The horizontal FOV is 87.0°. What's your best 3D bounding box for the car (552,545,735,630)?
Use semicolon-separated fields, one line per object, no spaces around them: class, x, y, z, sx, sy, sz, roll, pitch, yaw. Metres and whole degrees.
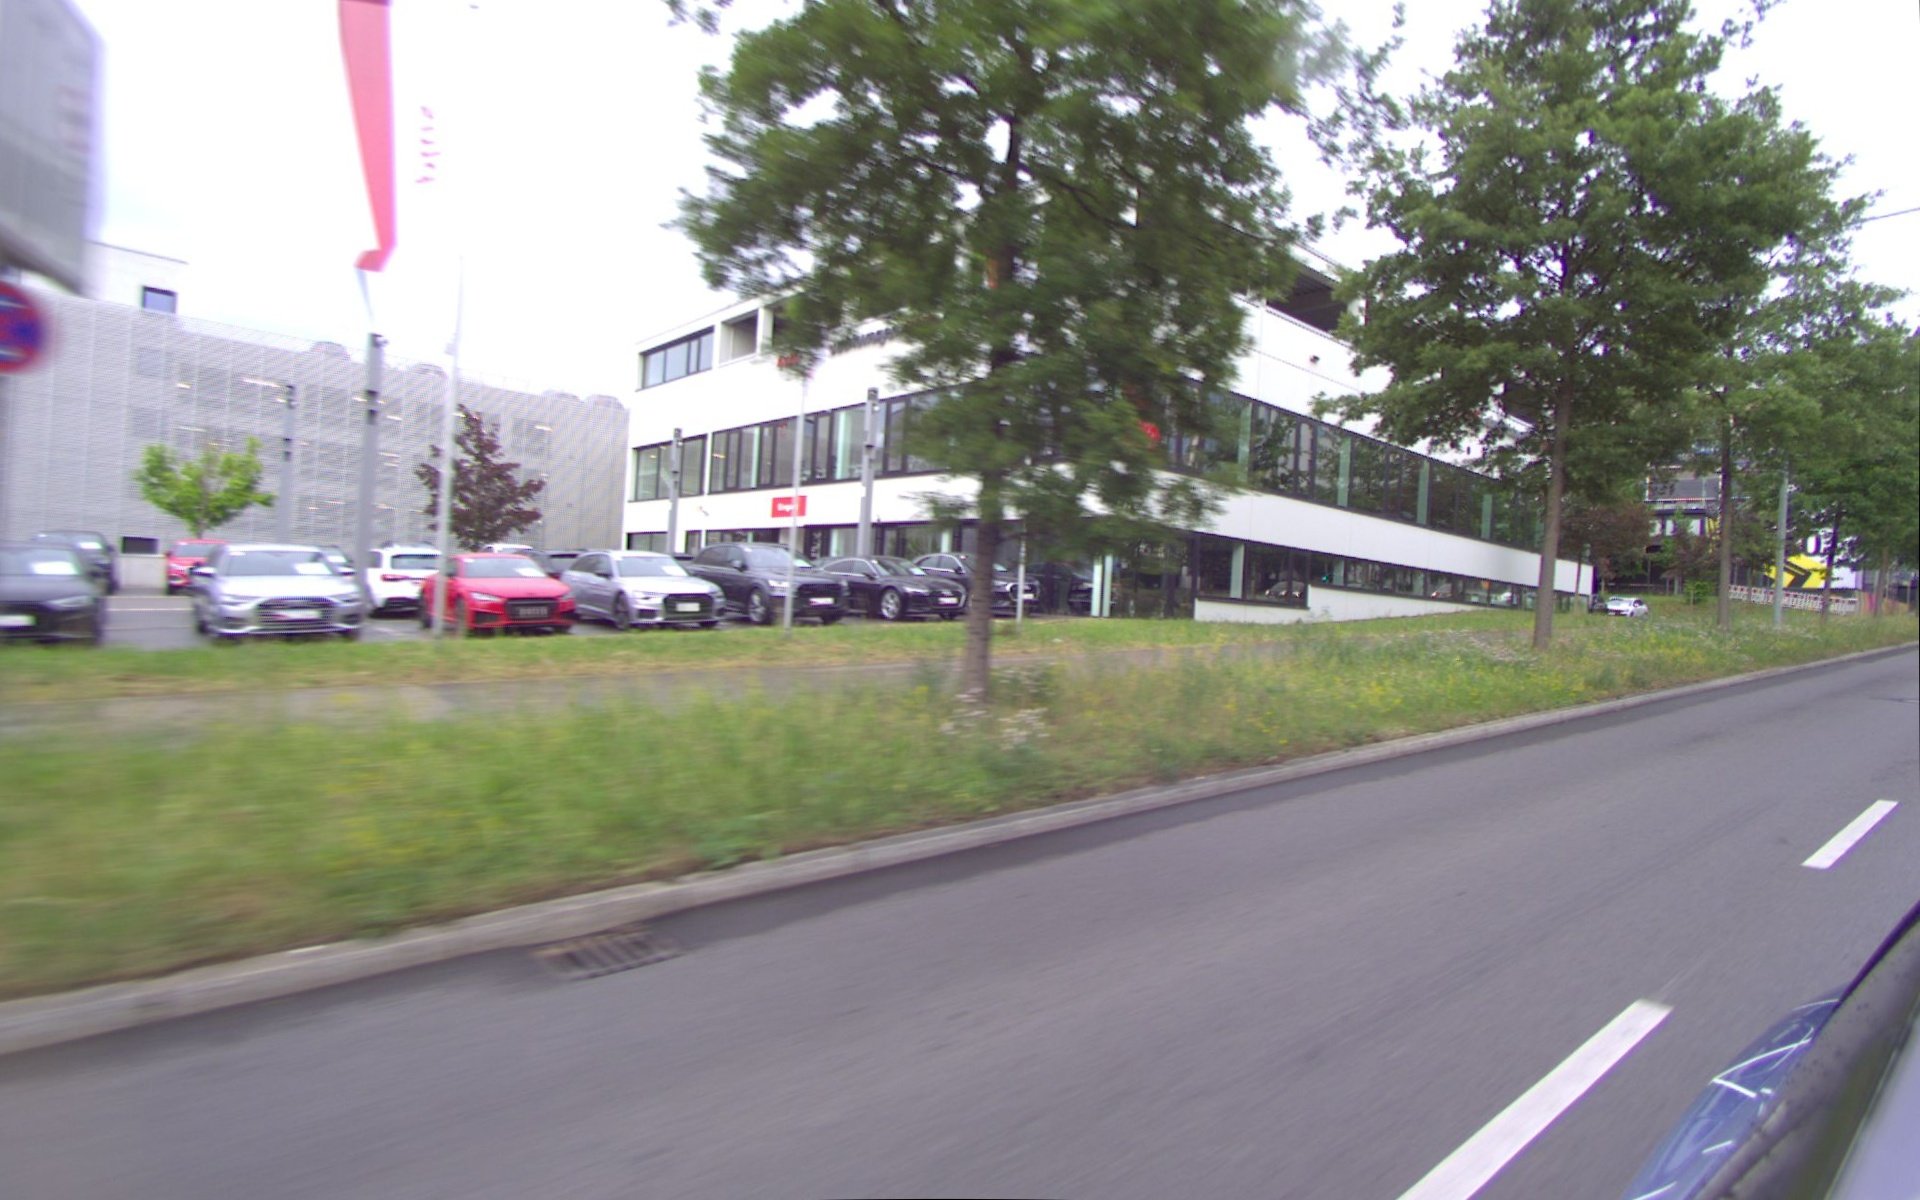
car;-6.247;-0.319;19.679;1.857;1.445;4.407;-1;3;-40

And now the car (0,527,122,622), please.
car;-16.929;-0.506;18.826;1.898;1.570;4.468;-1;2;-42

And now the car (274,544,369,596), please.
car;-19.703;-0.925;31.162;1.796;1.486;4.283;-1;2;-42

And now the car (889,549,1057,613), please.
car;0.245;-0.517;25.920;1.897;1.500;4.406;-1;2;-41

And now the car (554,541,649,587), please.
car;-13.340;-1.338;37.525;1.796;1.613;4.283;-1;2;-42

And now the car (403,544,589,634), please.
car;-8.394;-0.285;18.092;1.897;1.364;4.407;-1;4;-41

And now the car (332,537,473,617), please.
car;-12.282;-0.527;22.163;1.796;1.570;4.283;-1;2;-42

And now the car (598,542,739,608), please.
car;-7.588;-0.675;26.098;1.796;1.570;4.283;-1;2;-42

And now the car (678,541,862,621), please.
car;-4.175;-0.475;21.723;2.004;1.519;4.407;-1;3;-40

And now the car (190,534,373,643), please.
car;-10.855;-0.241;16.045;1.897;1.474;4.470;-1;2;-41

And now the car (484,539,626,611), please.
car;-9.767;-0.622;24.221;1.796;1.570;4.283;-1;2;-42

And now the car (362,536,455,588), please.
car;-18.436;-1.270;33.725;1.796;1.613;4.283;-1;2;-42

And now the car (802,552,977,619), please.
car;-1.741;-0.393;23.672;1.806;1.395;4.326;-1;3;-42

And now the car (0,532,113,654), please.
car;-12.991;-0.197;14.010;1.897;1.473;4.471;-1;3;-41

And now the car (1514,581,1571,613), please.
car;33.660;-0.188;58.462;3.579;1.696;1.701;-1;4;-41

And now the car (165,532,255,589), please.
car;-22.775;-1.183;30.665;1.796;1.613;4.283;-1;2;-42

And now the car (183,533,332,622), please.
car;-14.074;-0.487;20.179;1.898;1.570;4.468;-1;2;-42

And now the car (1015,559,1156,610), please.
car;3.590;-0.464;28.690;3.855;1.355;1.901;-1;2;-41

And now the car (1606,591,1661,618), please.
car;40.507;0.250;60.820;4.384;1.503;1.700;-1;0;-41

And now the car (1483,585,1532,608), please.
car;36.177;-0.233;66.845;3.579;1.503;1.700;-1;0;-41

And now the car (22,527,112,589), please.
car;-25.112;-1.159;28.455;1.796;1.613;4.283;-1;2;-42

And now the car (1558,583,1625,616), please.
car;35.206;-0.059;56.375;4.510;1.696;1.907;-1;3;-41

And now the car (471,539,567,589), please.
car;-15.396;-1.256;35.212;1.796;1.613;4.283;-1;2;-42
